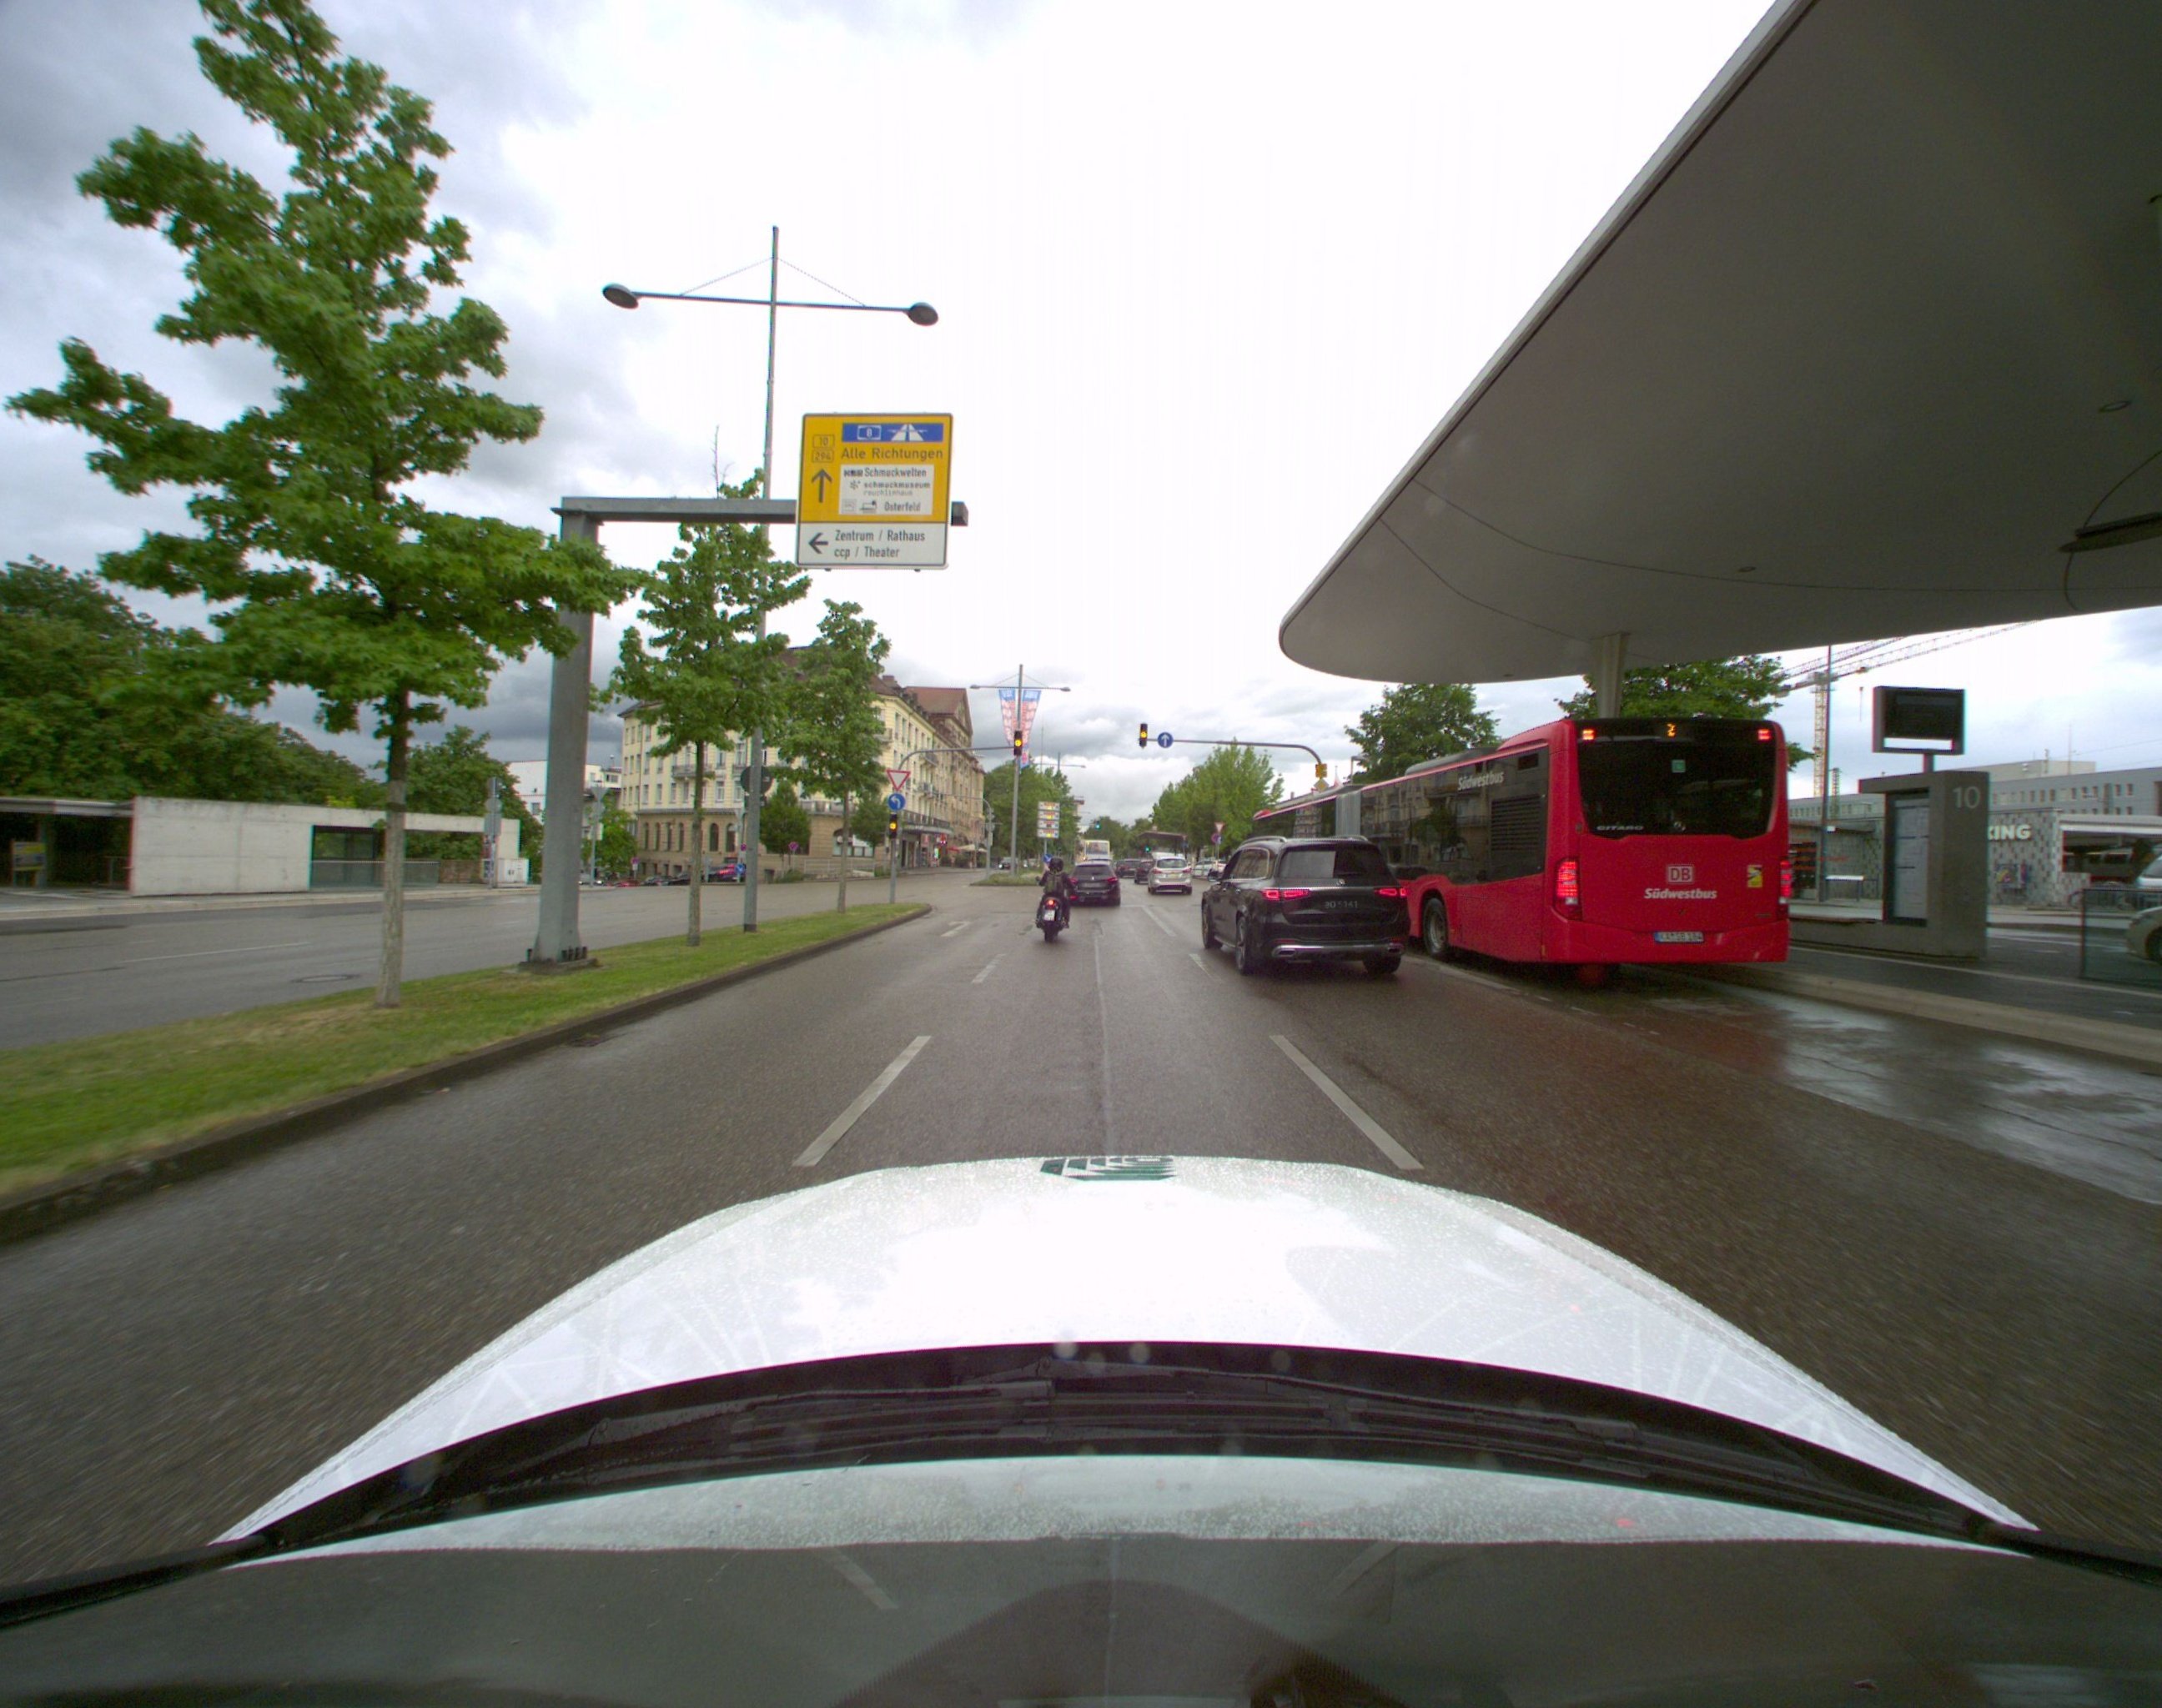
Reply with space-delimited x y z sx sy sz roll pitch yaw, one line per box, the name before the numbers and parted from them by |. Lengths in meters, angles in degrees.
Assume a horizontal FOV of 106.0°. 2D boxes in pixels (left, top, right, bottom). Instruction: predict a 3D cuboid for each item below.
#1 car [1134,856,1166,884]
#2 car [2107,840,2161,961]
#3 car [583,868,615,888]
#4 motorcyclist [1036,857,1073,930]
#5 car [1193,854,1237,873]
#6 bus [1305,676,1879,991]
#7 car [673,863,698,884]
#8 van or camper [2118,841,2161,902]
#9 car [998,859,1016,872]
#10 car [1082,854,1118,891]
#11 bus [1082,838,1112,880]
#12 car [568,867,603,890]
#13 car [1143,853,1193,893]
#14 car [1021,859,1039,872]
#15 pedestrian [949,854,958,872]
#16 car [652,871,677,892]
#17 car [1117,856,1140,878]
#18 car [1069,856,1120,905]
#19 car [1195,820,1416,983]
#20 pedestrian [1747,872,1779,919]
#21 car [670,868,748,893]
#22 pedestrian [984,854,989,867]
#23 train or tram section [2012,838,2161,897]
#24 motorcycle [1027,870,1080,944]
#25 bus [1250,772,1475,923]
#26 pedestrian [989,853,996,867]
car | 4.094 0.939 48.637 1.570 1.567 3.871 -1 0 1
car | 15.746 0.652 9.707 1.706 1.662 4.238 2 -1 0
car | -40.953 2.039 69.246 1.844 1.628 3.676 1 -1 -24
motorcyclist | -0.500 0.731 15.454 0.638 1.347 0.689 0 -1 4
car | 11.896 0.855 72.341 1.588 1.567 3.752 -1 -1 -38
bus | 6.830 -0.176 13.963 3.274 3.292 10.880 0 0 1
car | -32.197 1.557 66.201 1.668 1.604 3.222 -2 1 -28
van or camper | 42.585 0.669 30.679 4.676 2.270 2.107 1 -1 -4
car | -9.037 1.355 99.403 1.774 1.567 3.430 -1 0 1
car | 0.853 0.833 37.539 1.570 1.567 3.871 -1 0 1
bus | 1.564 0.549 84.076 2.828 3.988 11.862 1 -1 0
car | -36.879 1.813 60.565 2.008 1.585 3.439 0 -1 -35
car | 3.648 0.777 34.582 1.735 1.567 3.871 -1 0 1
car | -6.104 1.361 97.670 1.774 1.567 3.430 -1 0 1
pedestrian | -14.417 0.991 91.985 0.727 2.014 0.819 0 -1 -26
car | -35.474 2.344 69.308 1.668 1.604 3.221 -2 1 -30
car | 3.570 0.990 61.749 1.570 1.567 3.796 -1 0 1
car | 0.478 0.838 27.408 1.570 1.504 3.872 -1 0 1
car | 2.997 0.575 12.060 1.951 1.876 4.874 -1 0 1
pedestrian | 23.810 1.463 28.439 0.601 1.579 0.674 4 -4 7
car | -25.321 1.783 55.547 4.377 1.570 1.821 -1 0 -2
pedestrian | -12.964 0.876 111.902 0.555 1.778 0.502 -1 -1 35
train or tram section | 71.705 0.948 55.138 3.121 3.659 12.321 4 0 0
motorcycle | -0.490 0.958 15.308 0.789 1.262 1.857 -1 0 4
bus | 7.058 -0.112 22.212 3.279 3.289 8.851 0 0 1
pedestrian | -12.059 0.800 111.540 0.727 1.966 0.819 0 -1 -26
